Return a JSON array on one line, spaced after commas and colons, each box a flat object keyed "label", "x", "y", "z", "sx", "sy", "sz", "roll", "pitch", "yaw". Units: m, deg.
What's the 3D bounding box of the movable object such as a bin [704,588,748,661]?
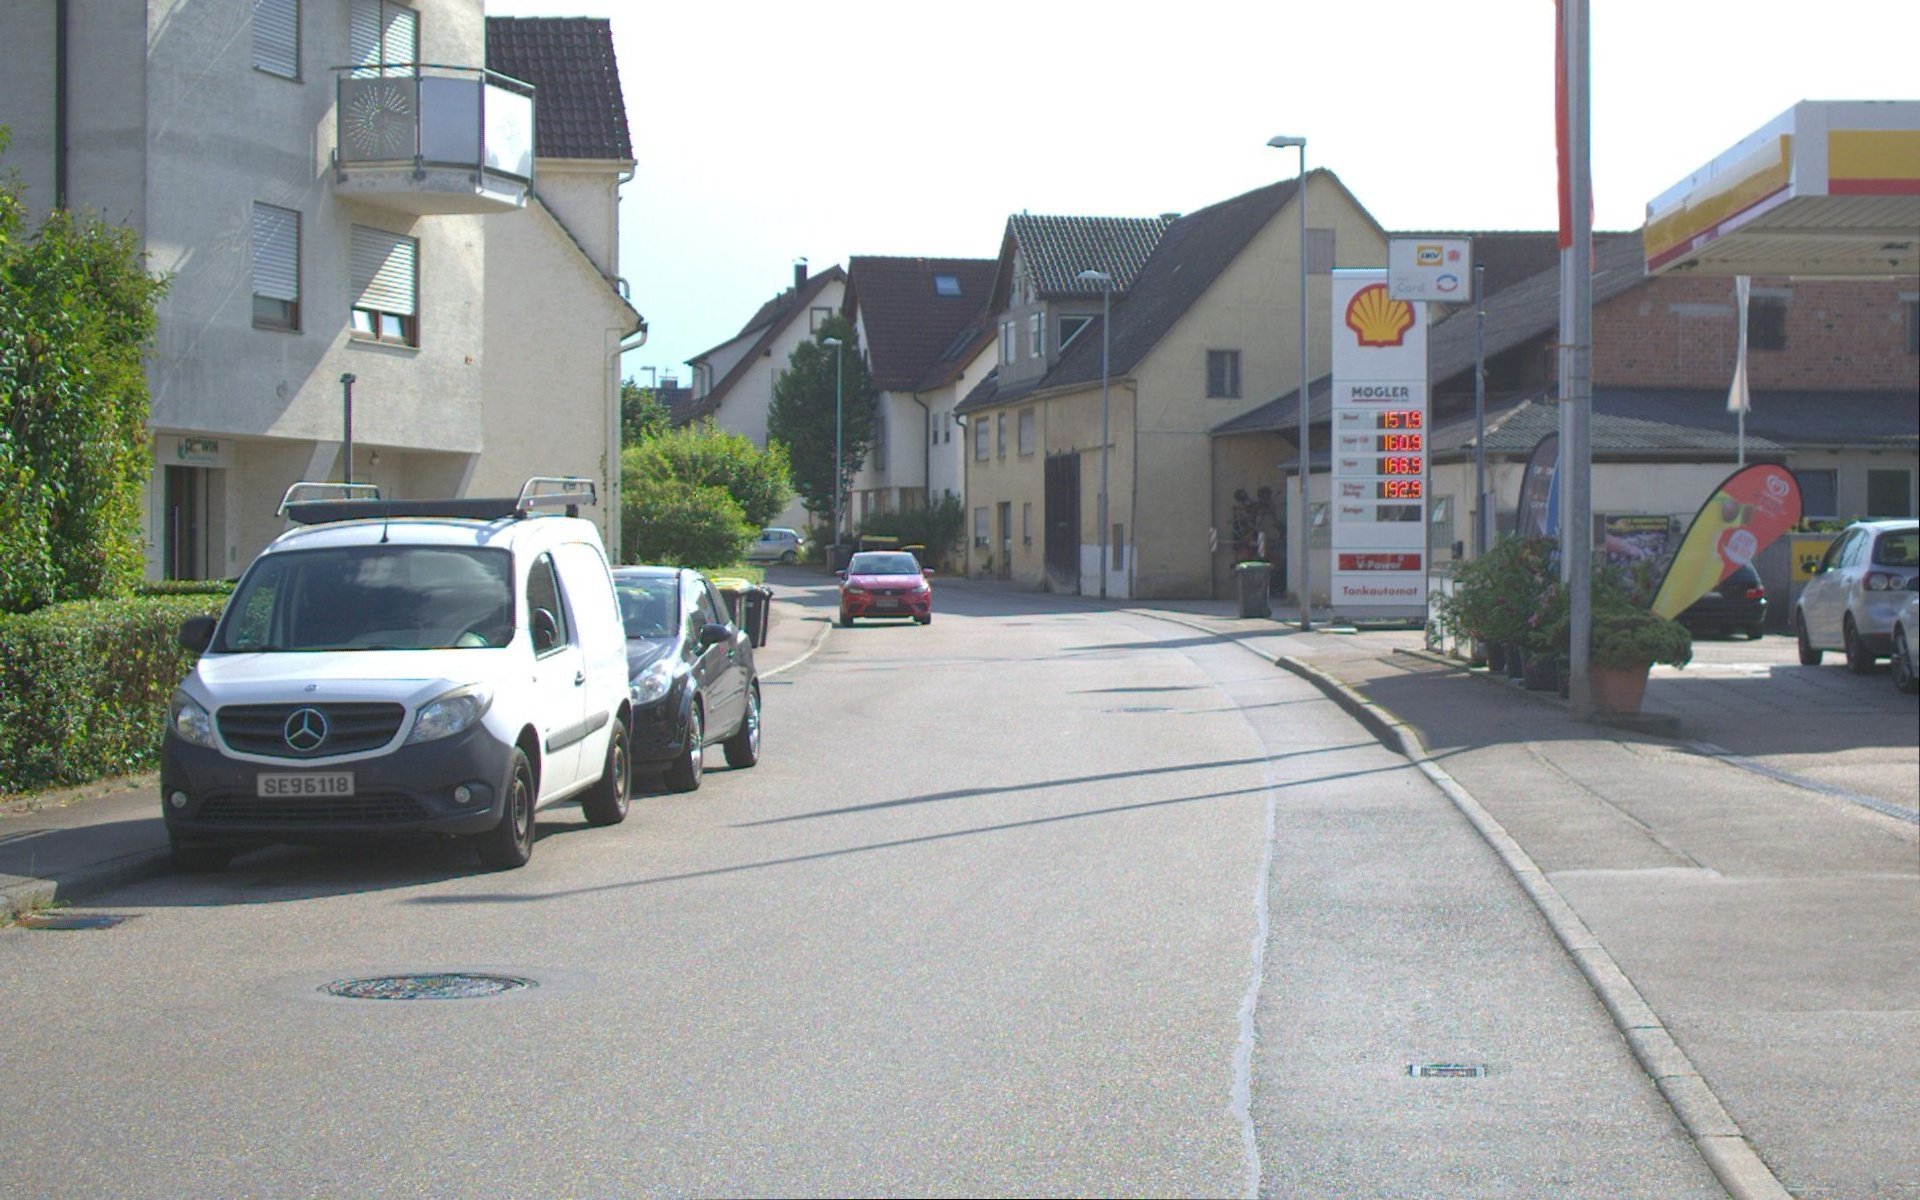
[{"label": "movable object such as a bin", "x": -3.492, "y": 0.364, "z": 51.349, "sx": 0.588, "sy": 1.080, "sz": 0.508, "roll": -1, "pitch": 1, "yaw": 3}]

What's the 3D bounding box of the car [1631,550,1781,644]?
[{"label": "car", "x": 12.182, "y": -0.077, "z": 56.359, "sx": 1.578, "sy": 1.422, "sz": 4.381, "roll": 1, "pitch": 1, "yaw": 2}]

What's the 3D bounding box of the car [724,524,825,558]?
[{"label": "car", "x": -7.482, "y": -2.384, "z": 138.314, "sx": 3.986, "sy": 1.348, "sz": 1.711, "roll": 0, "pitch": 1, "yaw": -5}]

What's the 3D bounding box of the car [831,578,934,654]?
[{"label": "car", "x": -1.568, "y": 0.294, "z": 68.261, "sx": 1.708, "sy": 1.430, "sz": 3.781, "roll": -1, "pitch": 0, "yaw": -6}]

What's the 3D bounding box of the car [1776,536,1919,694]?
[{"label": "car", "x": 9.826, "y": 0.109, "z": 36.287, "sx": 1.672, "sy": 1.572, "sz": 3.998, "roll": 0, "pitch": 1, "yaw": 3}]

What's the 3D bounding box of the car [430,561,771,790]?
[{"label": "car", "x": -2.388, "y": 0.461, "z": 23.735, "sx": 1.673, "sy": 1.446, "sz": 3.834, "roll": 0, "pitch": 1, "yaw": 4}]

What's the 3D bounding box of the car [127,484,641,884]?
[{"label": "car", "x": -2.917, "y": 0.376, "z": 18.311, "sx": 1.716, "sy": 1.866, "sz": 4.191, "roll": -1, "pitch": 1, "yaw": 4}]

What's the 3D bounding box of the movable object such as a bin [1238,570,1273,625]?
[{"label": "movable object such as a bin", "x": 5.844, "y": -0.056, "z": 67.976, "sx": 0.653, "sy": 1.070, "sz": 0.513, "roll": 0, "pitch": 1, "yaw": 0}]

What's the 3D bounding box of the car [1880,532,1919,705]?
[{"label": "car", "x": 9.543, "y": 0.169, "z": 30.895, "sx": 1.672, "sy": 1.572, "sz": 3.998, "roll": 0, "pitch": 1, "yaw": 3}]

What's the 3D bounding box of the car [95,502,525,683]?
[{"label": "car", "x": -6.837, "y": -0.102, "z": 36.251, "sx": 3.990, "sy": 1.533, "sz": 1.761, "roll": 5, "pitch": 2, "yaw": 15}]

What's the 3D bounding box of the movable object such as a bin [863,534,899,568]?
[{"label": "movable object such as a bin", "x": -2.690, "y": -1.674, "z": 117.413, "sx": 1.160, "sy": 1.164, "sz": 0.655, "roll": 0, "pitch": 1, "yaw": -9}]

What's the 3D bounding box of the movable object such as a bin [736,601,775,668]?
[{"label": "movable object such as a bin", "x": -3.160, "y": 0.535, "z": 53.247, "sx": 0.531, "sy": 1.019, "sz": 0.457, "roll": -1, "pitch": 1, "yaw": 3}]

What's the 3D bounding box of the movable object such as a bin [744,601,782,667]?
[{"label": "movable object such as a bin", "x": -3.082, "y": 0.529, "z": 53.740, "sx": 0.531, "sy": 1.019, "sz": 0.457, "roll": -1, "pitch": 1, "yaw": 3}]
